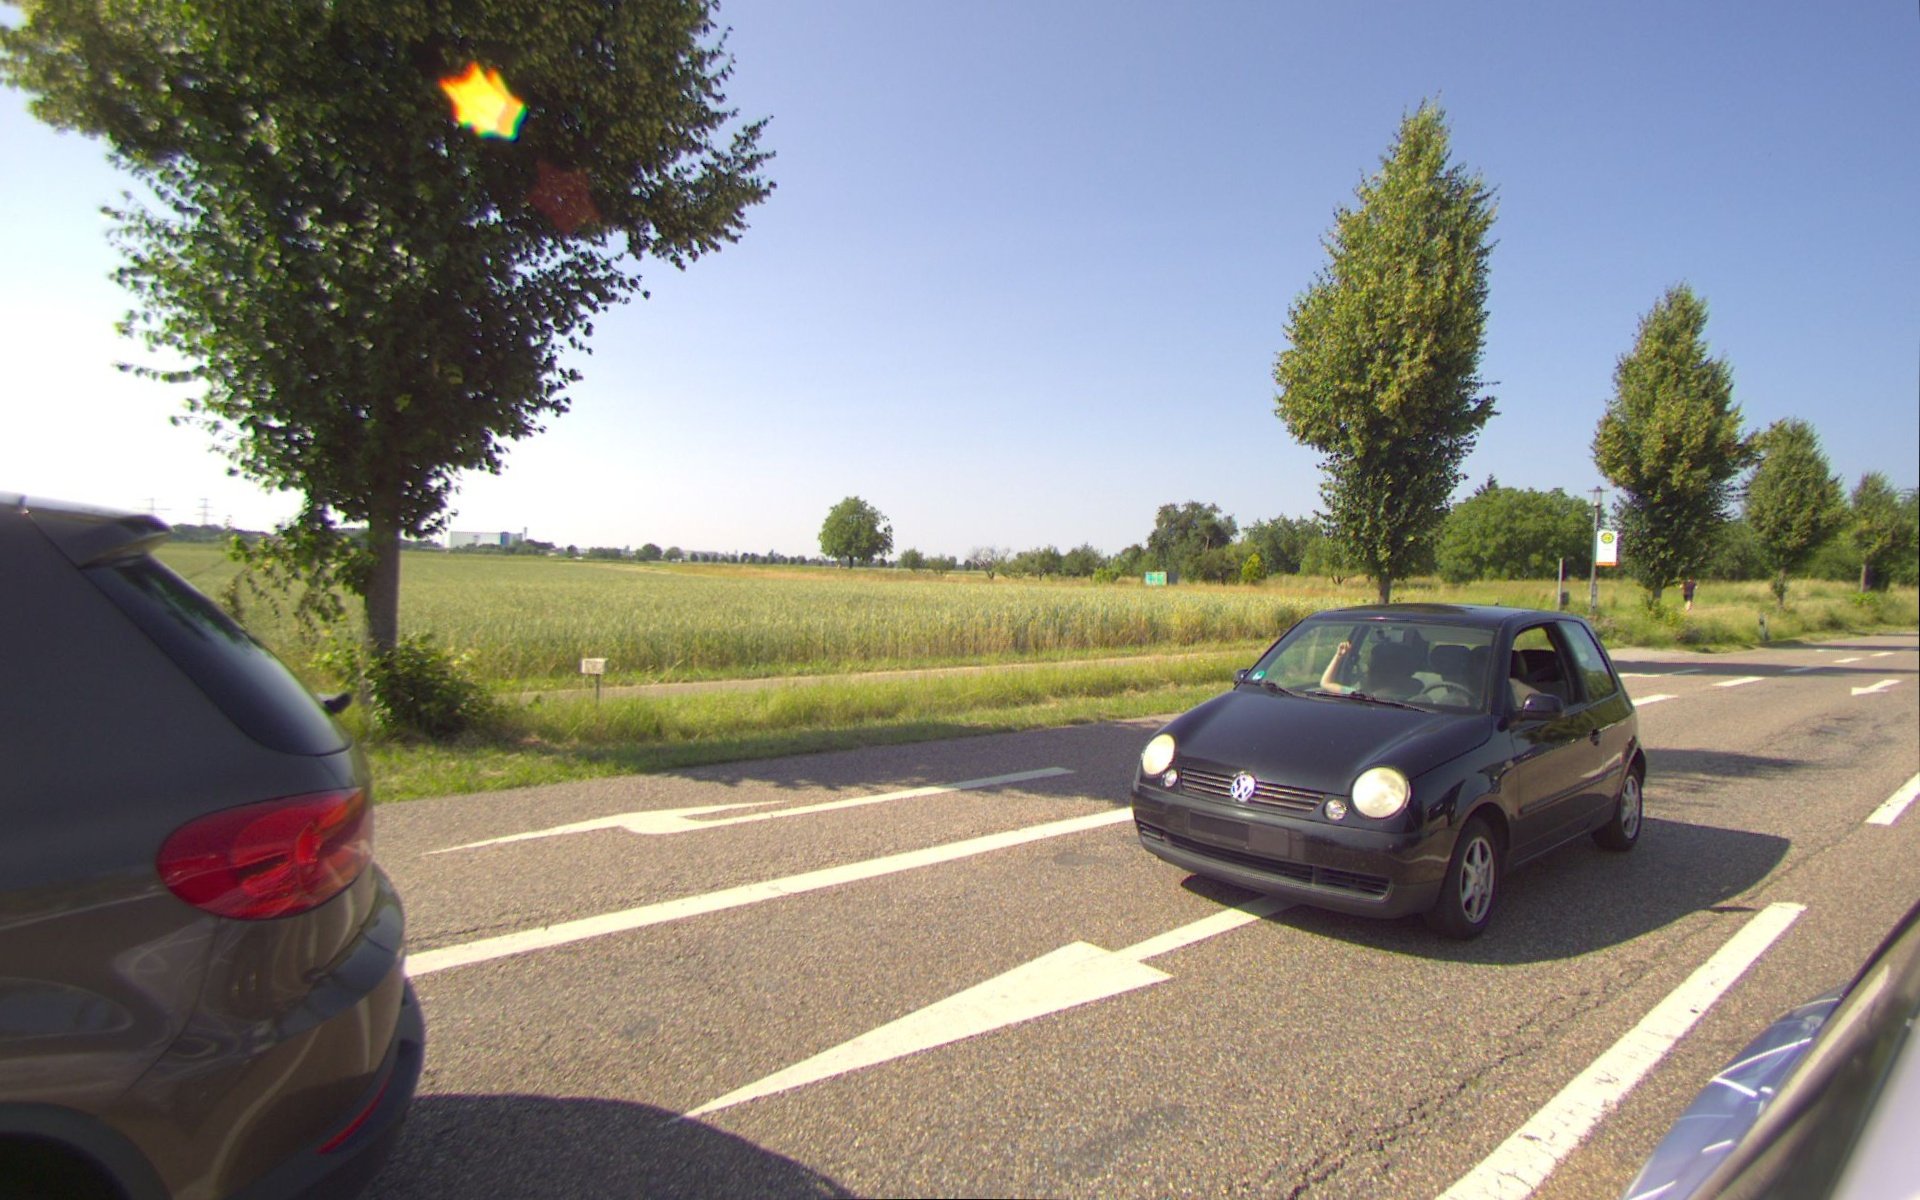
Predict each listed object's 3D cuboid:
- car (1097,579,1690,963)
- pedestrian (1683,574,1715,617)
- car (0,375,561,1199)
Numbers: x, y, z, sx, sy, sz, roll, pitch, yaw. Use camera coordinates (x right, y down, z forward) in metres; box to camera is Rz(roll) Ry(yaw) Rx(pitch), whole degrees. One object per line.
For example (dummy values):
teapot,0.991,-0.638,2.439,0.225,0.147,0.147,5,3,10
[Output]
car,2.563,0.635,5.617,3.559,1.451,1.628,0,0,-41
pedestrian,33.216,-0.204,45.510,1.174,1.862,0.903,0,2,-43
car,-2.796,0.549,1.084,4.075,1.676,1.758,0,0,-42
